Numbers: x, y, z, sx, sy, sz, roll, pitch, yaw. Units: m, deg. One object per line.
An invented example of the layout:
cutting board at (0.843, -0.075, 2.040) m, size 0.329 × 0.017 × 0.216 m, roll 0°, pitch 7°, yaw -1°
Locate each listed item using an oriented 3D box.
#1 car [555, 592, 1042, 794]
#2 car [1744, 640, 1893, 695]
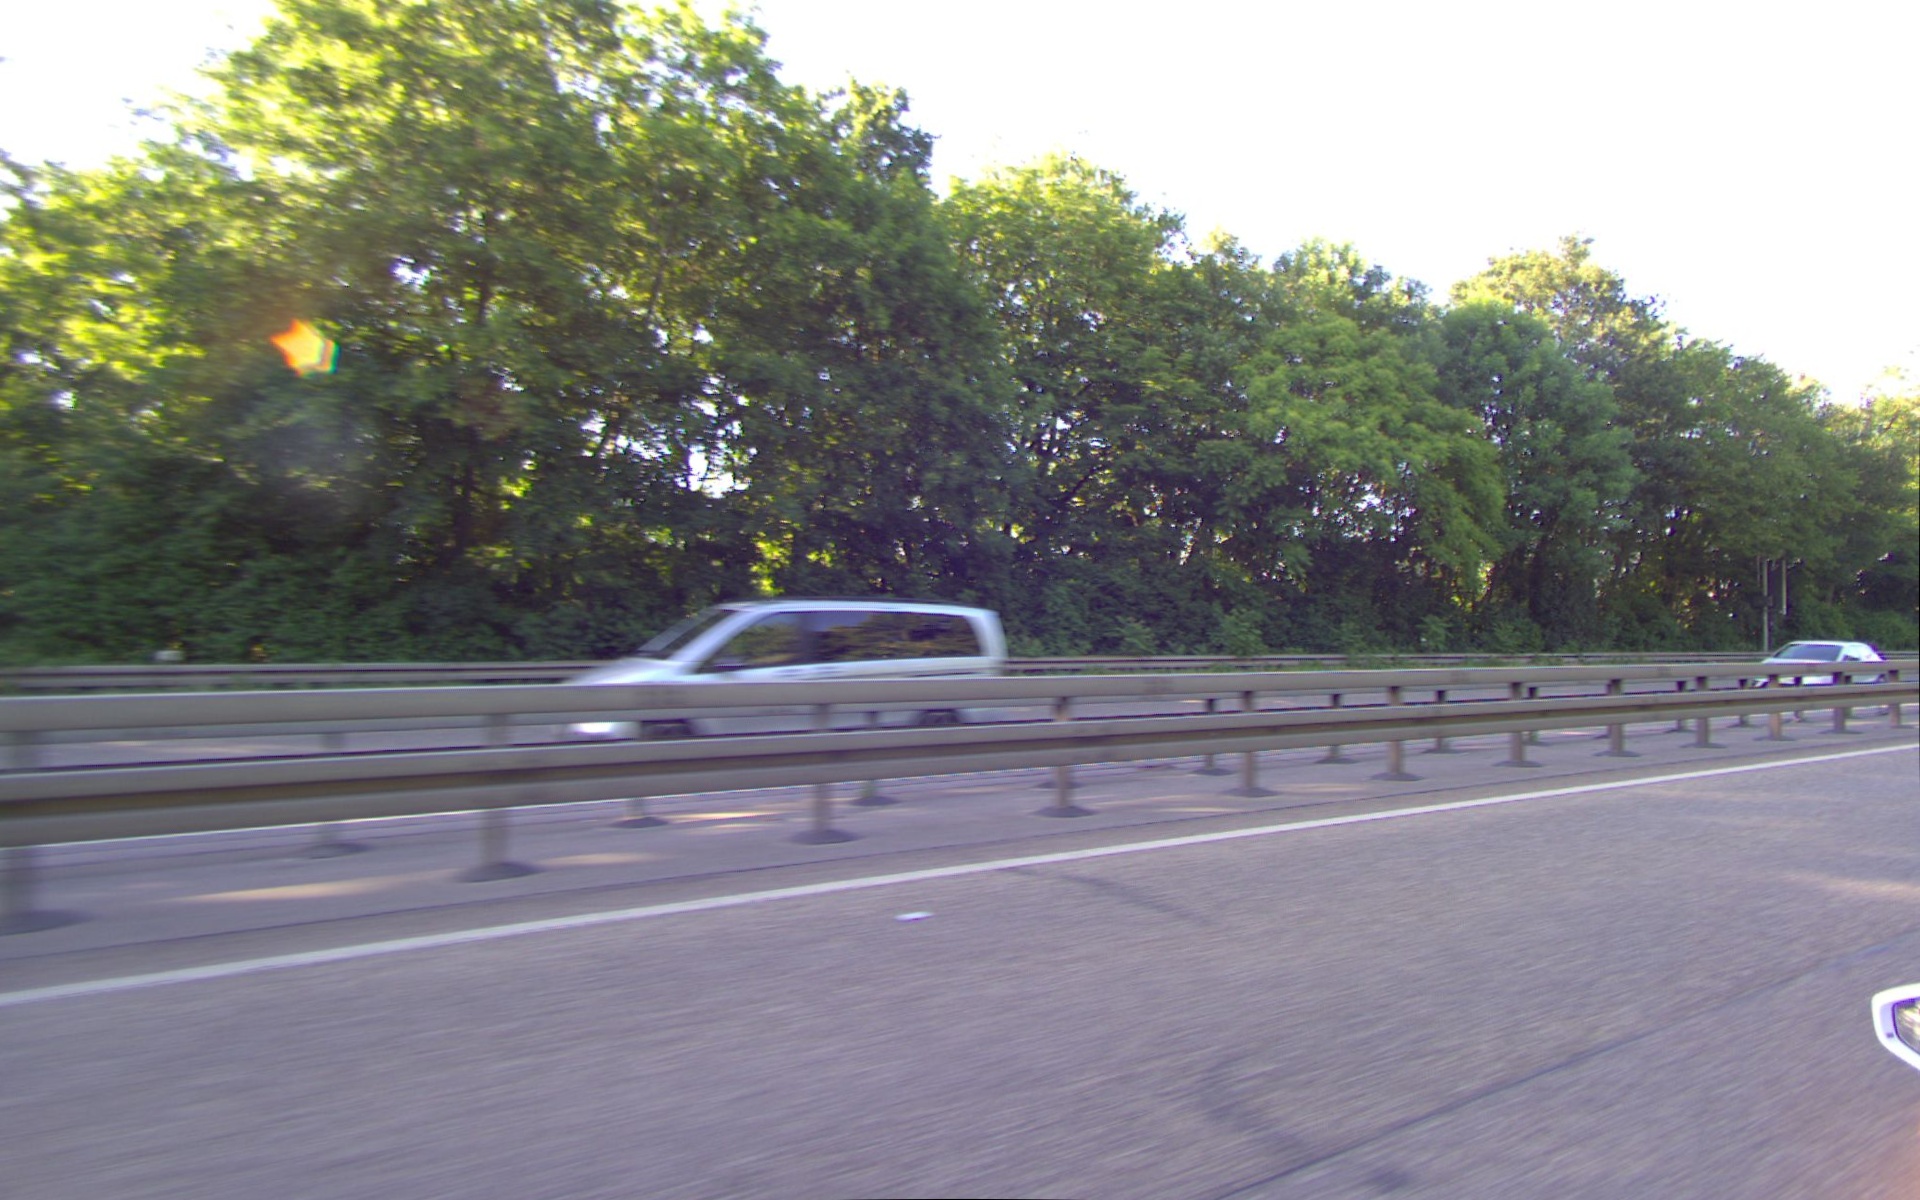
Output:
car at (-1.759, 0.976, 11.793) m, size 5.354 × 1.928 × 1.878 m, roll 1°, pitch -3°, yaw -31°
car at (22.148, 1.702, 25.895) m, size 3.860 × 1.331 × 1.592 m, roll 1°, pitch -3°, yaw -28°
